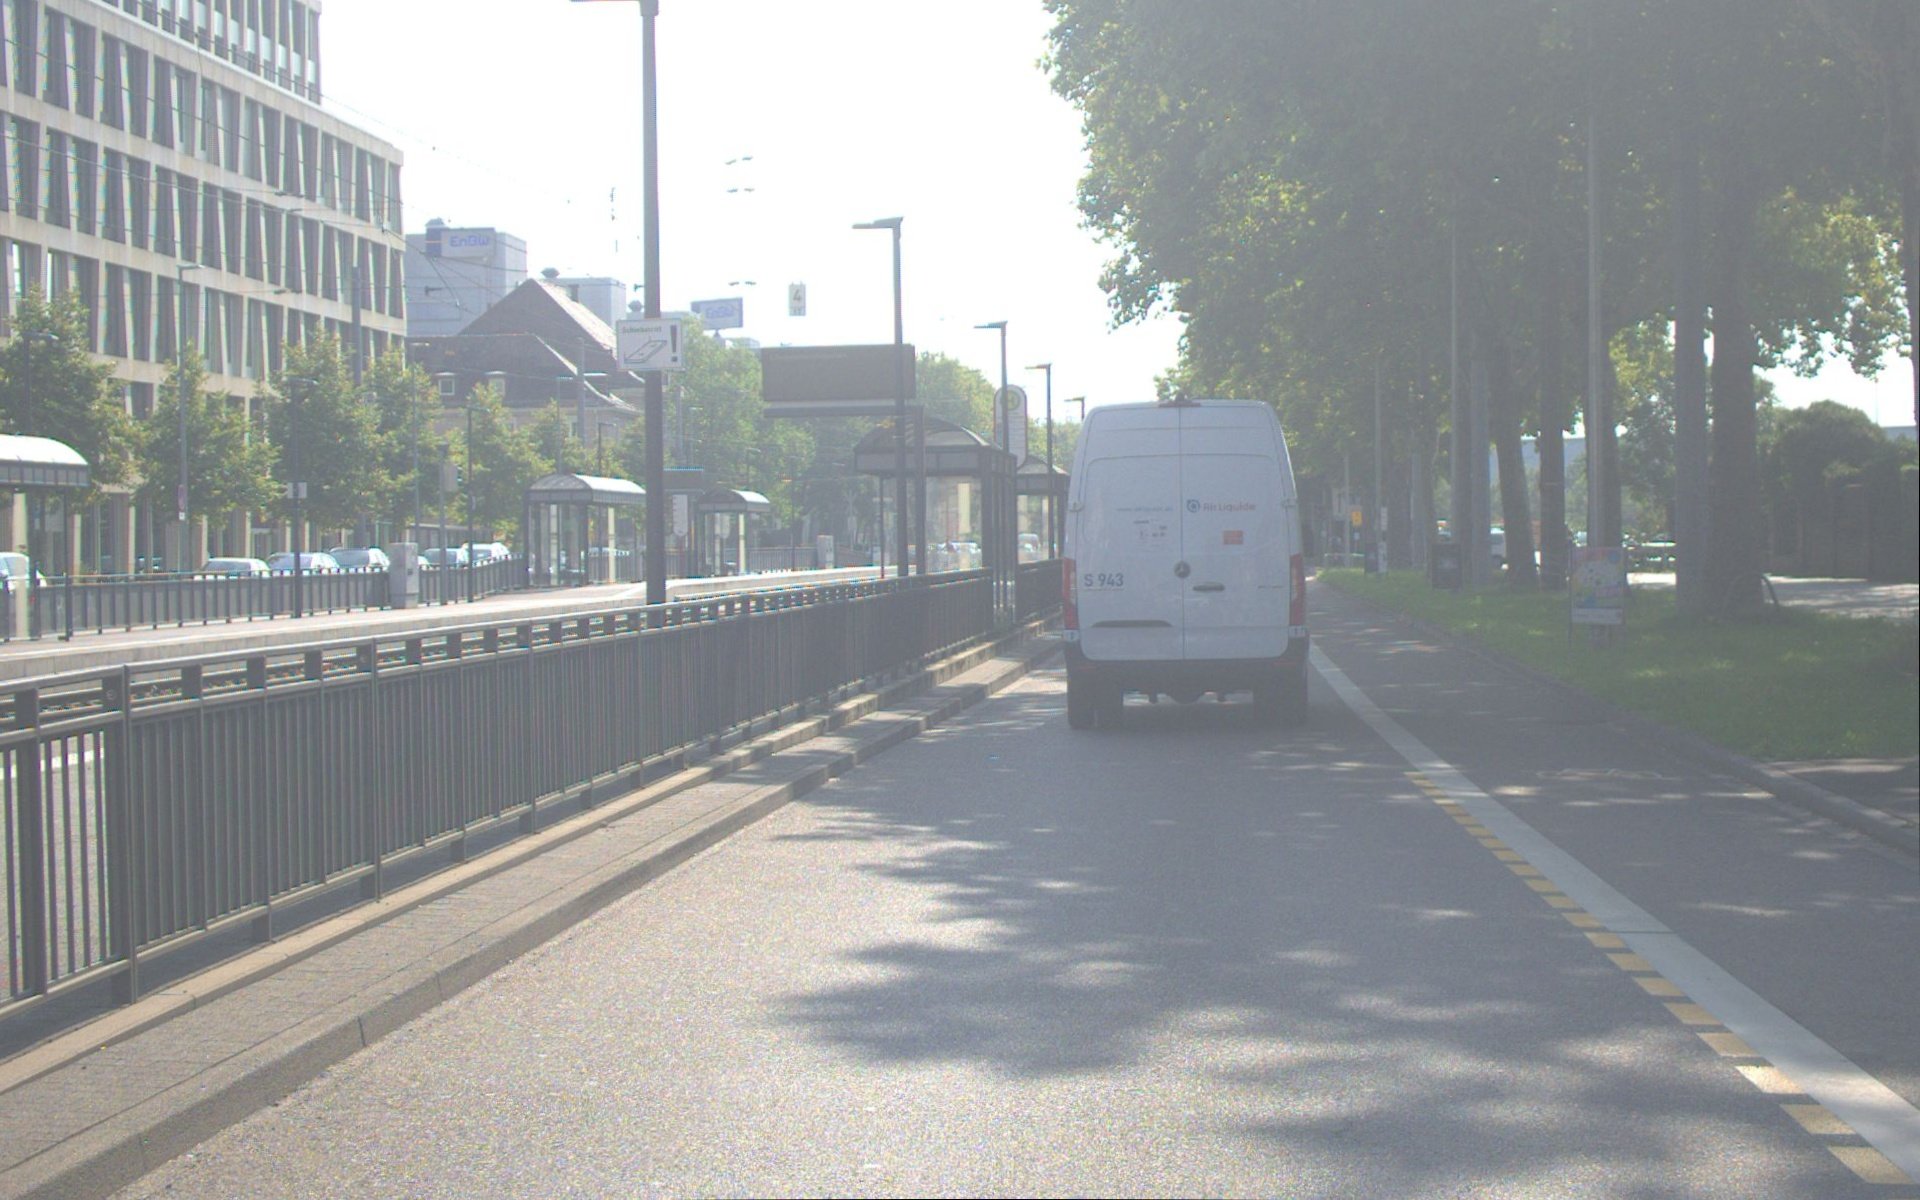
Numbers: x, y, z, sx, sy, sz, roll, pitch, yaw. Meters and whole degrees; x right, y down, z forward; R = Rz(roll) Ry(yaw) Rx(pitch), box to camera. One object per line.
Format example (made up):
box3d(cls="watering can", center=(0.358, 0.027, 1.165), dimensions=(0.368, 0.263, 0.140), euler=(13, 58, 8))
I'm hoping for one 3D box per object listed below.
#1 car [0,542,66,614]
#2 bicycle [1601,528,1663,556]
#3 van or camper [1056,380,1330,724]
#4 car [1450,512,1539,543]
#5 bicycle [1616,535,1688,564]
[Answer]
box3d(cls="car", center=(-19.942, -0.452, 70.774), dimensions=(1.684, 1.402, 4.370), euler=(-1, 1, 4))
box3d(cls="bicycle", center=(21.865, -1.898, 111.905), dimensions=(1.932, 0.844, 0.372), euler=(-2, 1, 5))
box3d(cls="van or camper", center=(1.903, -0.436, 29.569), dimensions=(2.115, 2.673, 5.250), euler=(1, 1, 2))
box3d(cls="car", center=(25.143, -3.404, 161.927), dimensions=(3.987, 1.371, 2.000), euler=(1, 0, 4))
box3d(cls="bicycle", center=(21.934, -1.611, 108.954), dimensions=(2.180, 0.844, 0.503), euler=(-2, 1, 5))
